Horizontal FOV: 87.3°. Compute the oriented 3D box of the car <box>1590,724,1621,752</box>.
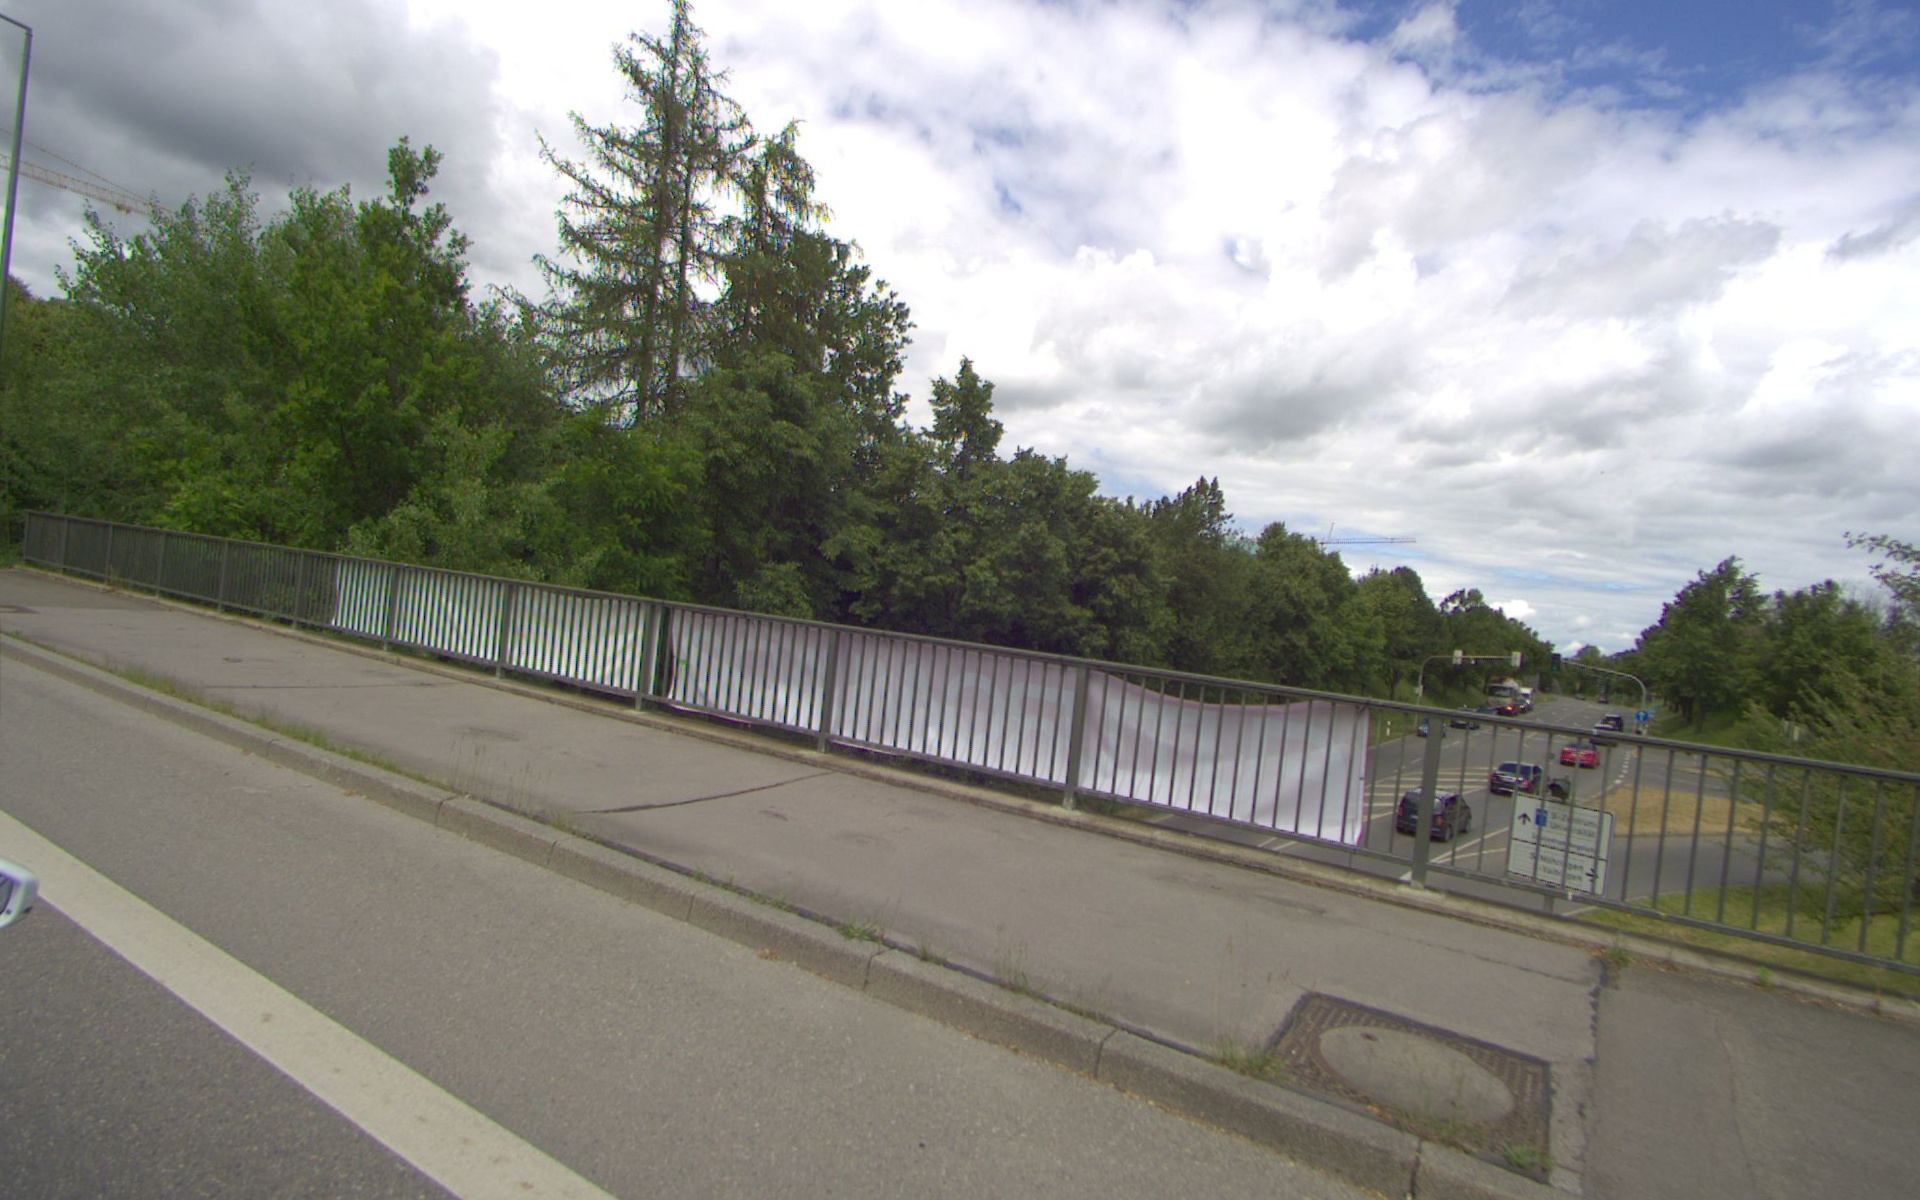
[{"bbox_3d":[48.810,10.434,76.045,1.655,1.561,3.841,8,2,36],"label":"car"}]

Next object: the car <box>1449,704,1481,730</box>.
[{"bbox_3d":[41.065,9.493,81.736,1.654,1.561,4.058,8,2,34],"label":"car"}]

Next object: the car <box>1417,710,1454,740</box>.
[{"bbox_3d":[33.900,8.884,71.721,1.654,1.561,3.842,8,2,34],"label":"car"}]

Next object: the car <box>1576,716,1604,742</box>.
[{"bbox_3d":[52.328,10.664,83.528,1.680,1.586,4.014,8,2,34],"label":"car"}]

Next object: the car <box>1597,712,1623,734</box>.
[{"bbox_3d":[60.102,11.387,93.047,1.655,1.561,3.841,8,2,36],"label":"car"}]

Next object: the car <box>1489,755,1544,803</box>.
[{"bbox_3d":[26.125,8.350,47.192,1.655,1.561,3.841,8,2,36],"label":"car"}]

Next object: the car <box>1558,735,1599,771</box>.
[{"bbox_3d":[37.301,9.172,60.609,1.655,1.561,3.841,8,2,36],"label":"car"}]

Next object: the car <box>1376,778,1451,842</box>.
[{"bbox_3d":[16.723,7.670,37.016,1.655,1.560,3.843,10,2,35],"label":"car"}]

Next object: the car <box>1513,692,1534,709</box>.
[{"bbox_3d":[67.516,12.003,120.523,1.654,1.561,3.842,8,2,34],"label":"car"}]

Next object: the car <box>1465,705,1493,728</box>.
[{"bbox_3d":[48.025,10.768,93.092,1.654,1.561,4.058,8,2,34],"label":"car"}]

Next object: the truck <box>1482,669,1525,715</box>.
[{"bbox_3d":[57.194,9.549,105.713,2.671,4.083,8.737,8,2,34],"label":"truck"}]
